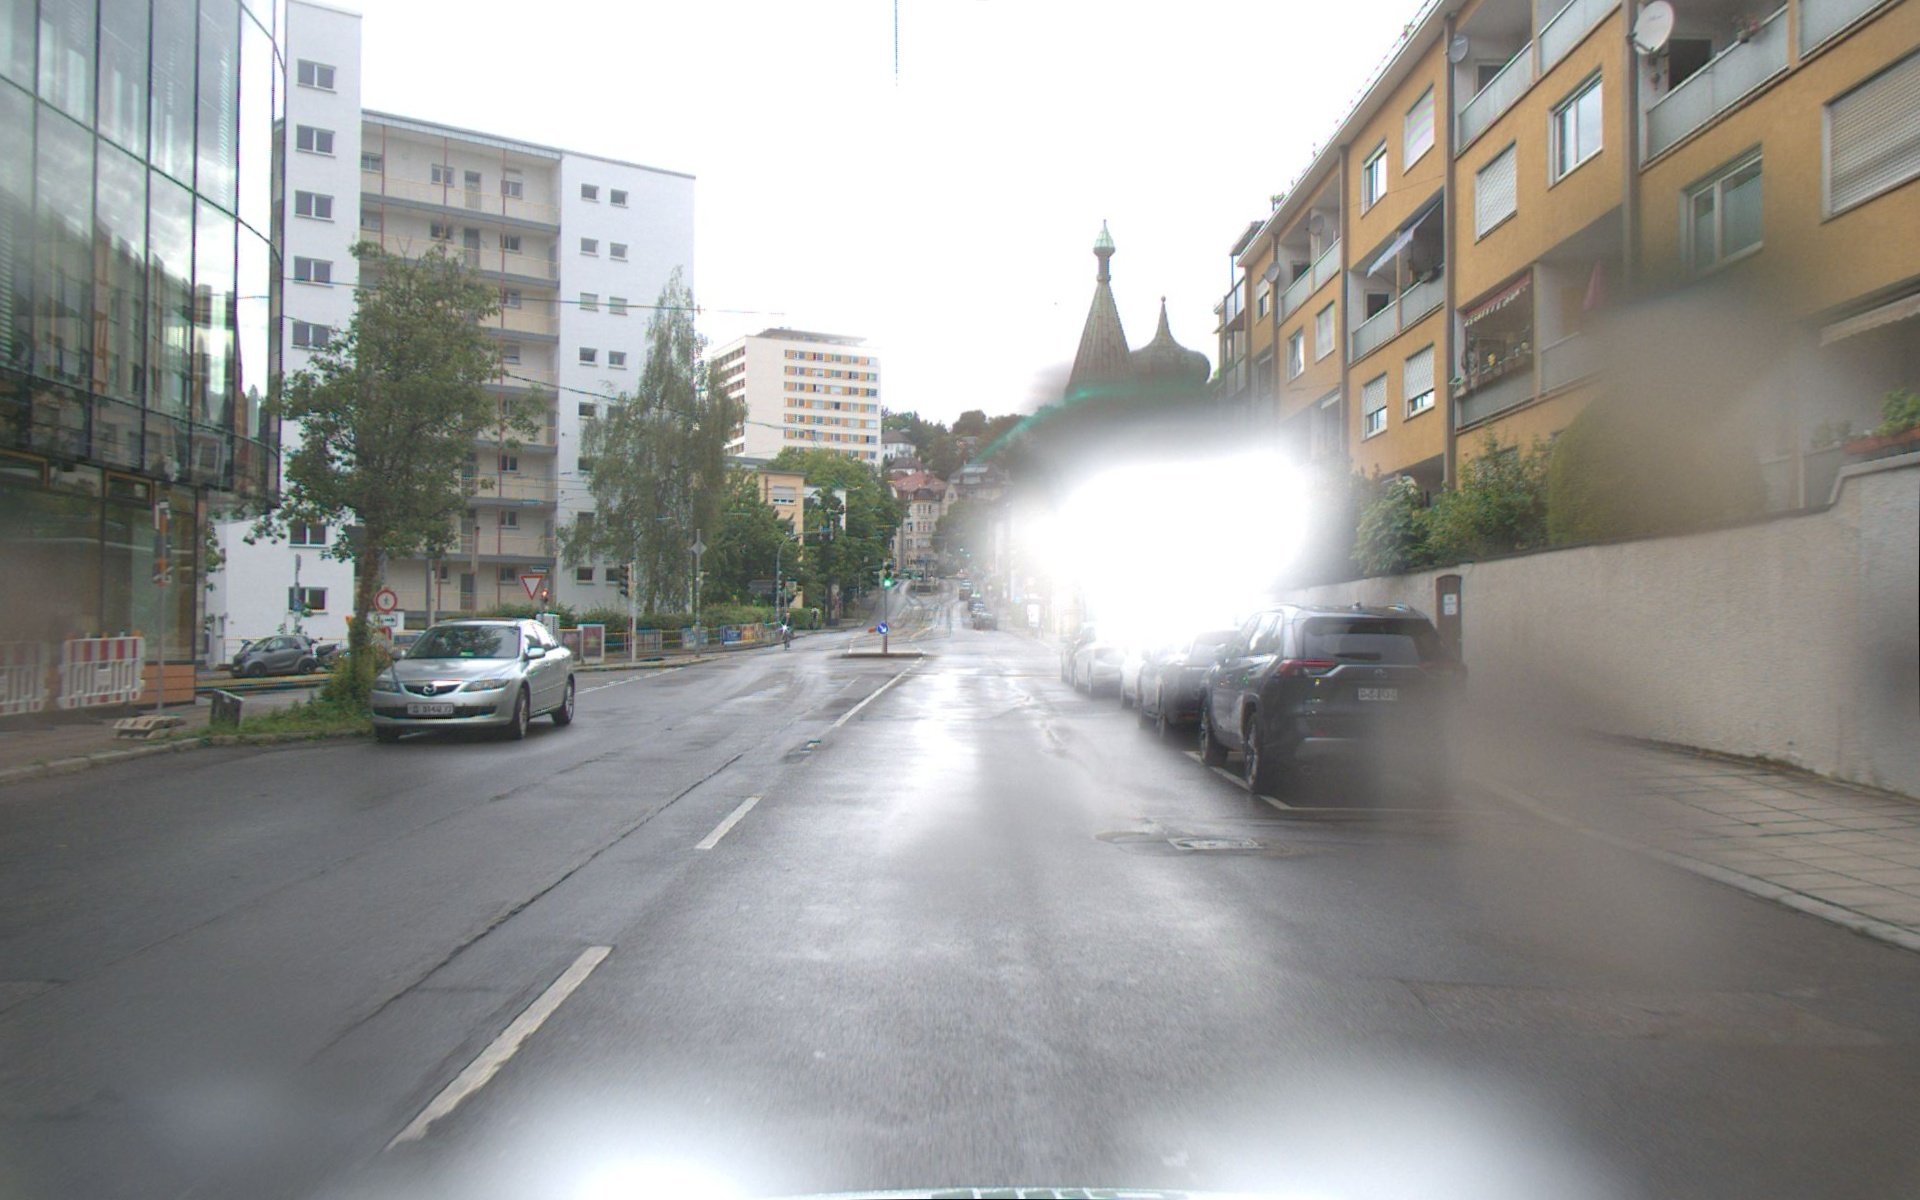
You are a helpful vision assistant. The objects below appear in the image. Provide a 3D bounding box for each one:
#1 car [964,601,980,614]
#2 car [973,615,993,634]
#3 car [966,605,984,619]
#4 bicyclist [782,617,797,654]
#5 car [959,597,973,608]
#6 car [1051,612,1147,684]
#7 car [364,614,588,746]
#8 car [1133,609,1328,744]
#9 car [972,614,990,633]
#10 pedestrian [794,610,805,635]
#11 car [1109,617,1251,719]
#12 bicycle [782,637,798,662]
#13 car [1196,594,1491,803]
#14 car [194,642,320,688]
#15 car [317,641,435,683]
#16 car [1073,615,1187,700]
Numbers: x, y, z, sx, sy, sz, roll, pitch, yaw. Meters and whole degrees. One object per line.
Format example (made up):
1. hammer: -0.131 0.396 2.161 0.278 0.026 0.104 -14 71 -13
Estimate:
1. car: 1.414 0.907 202.832 1.869 1.537 3.999 1 -1 -1
2. car: 2.106 2.200 150.302 1.696 1.683 4.001 0 -1 2
3. car: 1.686 1.325 186.920 1.854 1.537 3.999 1 -1 -1
4. bicyclist: -7.794 1.644 75.765 0.663 1.690 0.649 0 -2 -4
5. car: 0.833 0.337 231.411 1.869 1.537 3.999 1 -1 -1
6. car: 3.150 1.076 38.178 1.780 1.549 4.075 1 -1 -1
7. car: -6.010 0.968 21.027 1.675 1.476 4.292 -1 -1 -2
8. car: 3.376 0.920 21.372 1.780 1.549 4.075 1 -1 -1
9. car: 2.059 2.269 161.705 1.813 1.797 4.000 1 -1 1
10. pedestrian: -12.581 1.783 129.845 0.870 1.926 0.921 0 -1 -7
11. car: 3.630 1.087 27.926 1.780 1.549 4.075 1 -1 -1
12. bicycle: -7.794 2.280 75.757 0.663 1.127 1.799 0 -1 -3
13. car: 3.444 0.837 15.631 1.780 1.681 4.075 1 -1 -1
14. car: -25.807 2.361 60.772 3.961 1.537 1.775 0 -1 -39
15. car: -22.482 2.364 63.748 3.961 1.537 1.775 0 -1 -39
16. car: 3.323 1.094 33.021 1.780 1.549 4.075 1 -1 -1
